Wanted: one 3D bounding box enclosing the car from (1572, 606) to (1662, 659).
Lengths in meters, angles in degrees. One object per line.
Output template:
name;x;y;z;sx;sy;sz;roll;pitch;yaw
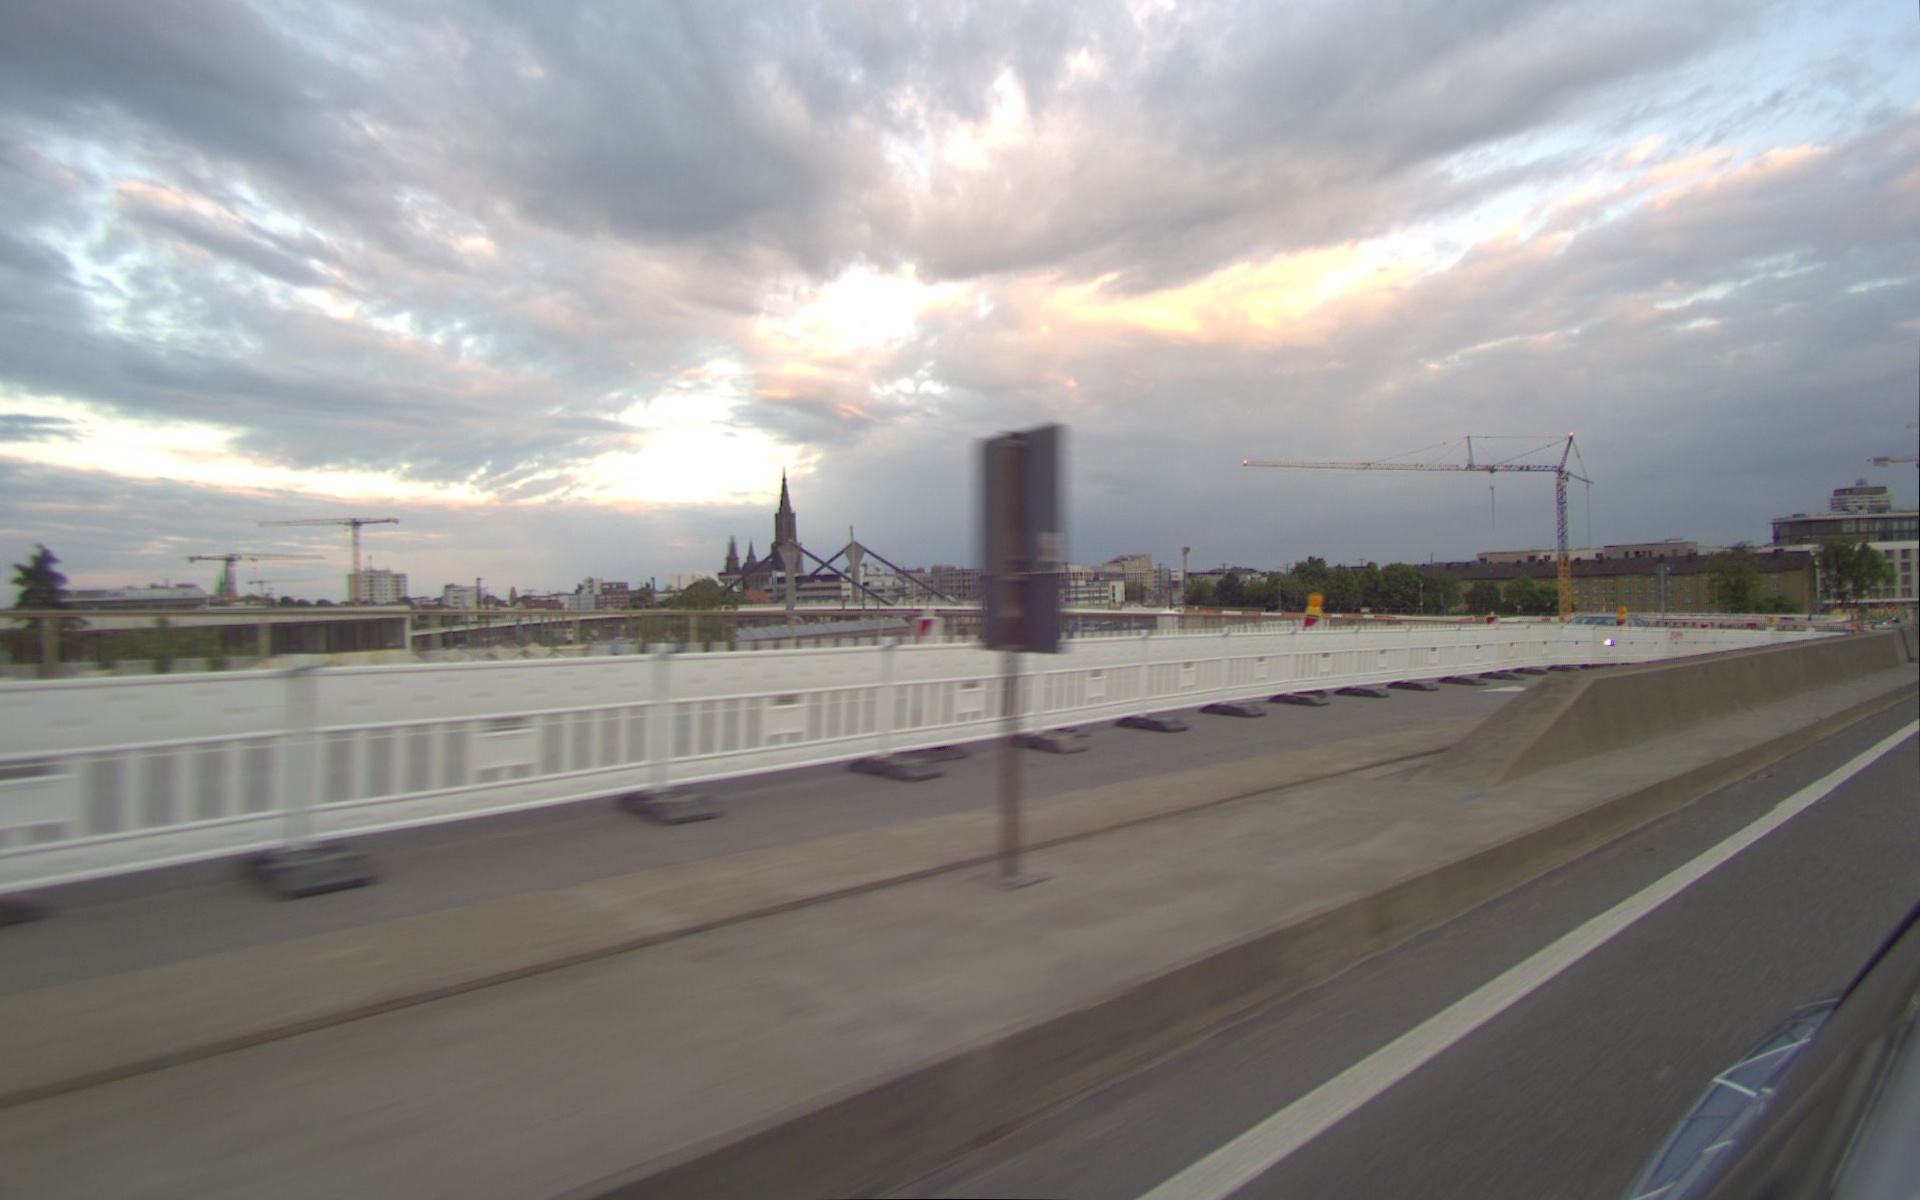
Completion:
car;20.585;0.963;31.629;1.749;1.510;3.938;0;0;42
